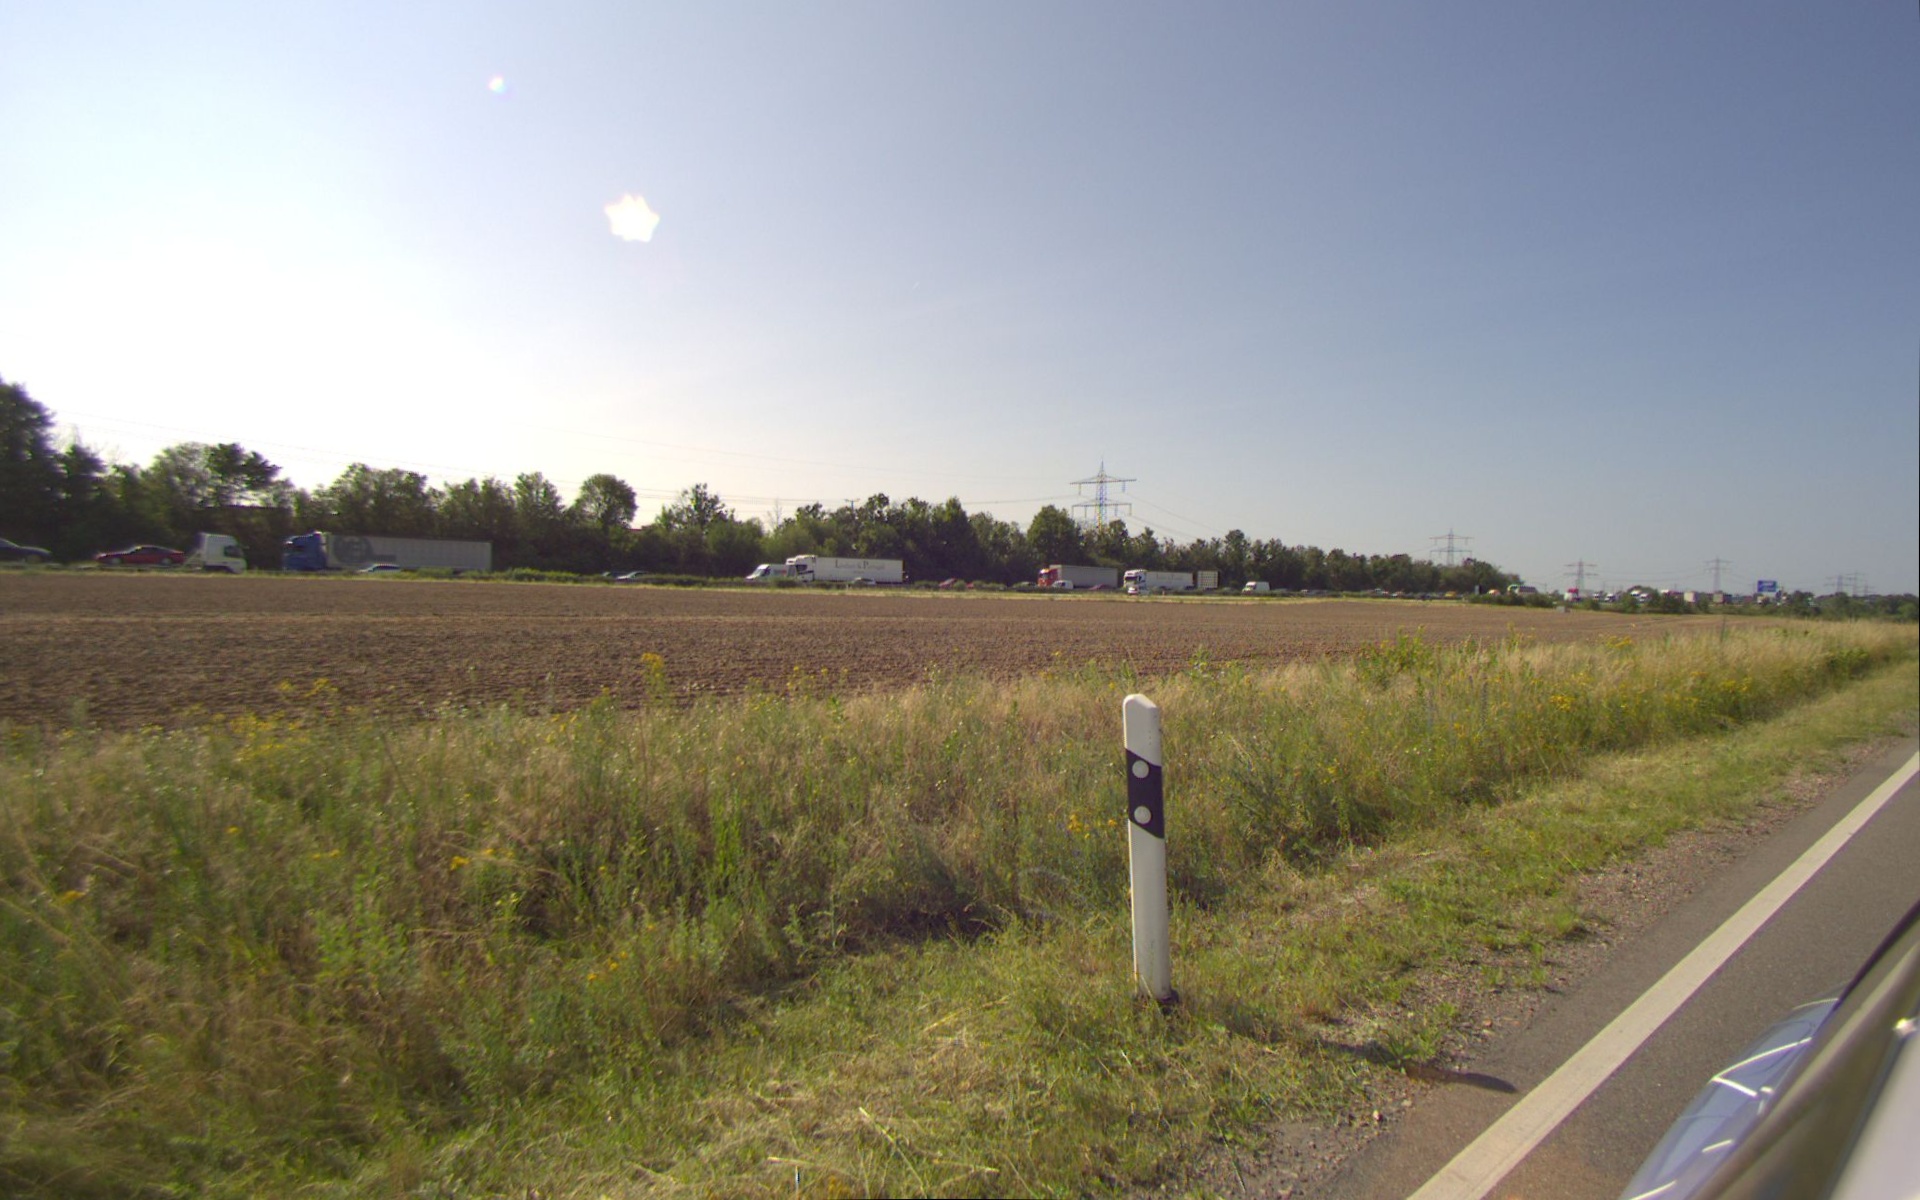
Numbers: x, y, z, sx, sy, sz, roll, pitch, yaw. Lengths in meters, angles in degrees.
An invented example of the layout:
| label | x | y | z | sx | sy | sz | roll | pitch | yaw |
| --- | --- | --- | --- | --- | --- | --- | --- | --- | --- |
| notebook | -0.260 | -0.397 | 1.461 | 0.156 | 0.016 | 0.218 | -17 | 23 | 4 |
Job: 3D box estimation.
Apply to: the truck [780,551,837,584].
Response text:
| label | x | y | z | sx | sy | sz | roll | pitch | yaw |
| --- | --- | --- | --- | --- | --- | --- | --- | --- | --- |
| truck | -18.021 | -3.843 | 120.829 | 6.012 | 3.780 | 3.077 | 1 | 1 | -42 |

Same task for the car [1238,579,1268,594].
| label | x | y | z | sx | sy | sz | roll | pitch | yaw |
| --- | --- | --- | --- | --- | --- | --- | --- | --- | --- |
| car | 51.956 | -2.430 | 179.374 | 6.303 | 2.478 | 2.040 | 0 | 1 | -42 |

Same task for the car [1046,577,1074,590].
| label | x | y | z | sx | sy | sz | roll | pitch | yaw |
| --- | --- | --- | --- | --- | --- | --- | --- | --- | --- |
| car | 14.069 | -2.314 | 142.467 | 4.025 | 1.659 | 1.704 | 0 | 0 | -44 |

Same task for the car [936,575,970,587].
| label | x | y | z | sx | sy | sz | roll | pitch | yaw |
| --- | --- | --- | --- | --- | --- | --- | --- | --- | --- |
| car | -0.865 | -2.411 | 129.287 | 4.176 | 1.403 | 1.852 | 1 | 0 | -43 |

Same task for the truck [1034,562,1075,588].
| label | x | y | z | sx | sy | sz | roll | pitch | yaw |
| --- | --- | --- | --- | --- | --- | --- | --- | --- | --- |
| truck | 14.130 | -3.707 | 151.094 | 5.770 | 3.780 | 2.949 | 1 | 1 | -43 |

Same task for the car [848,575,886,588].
| label | x | y | z | sx | sy | sz | roll | pitch | yaw |
| --- | --- | --- | --- | --- | --- | --- | --- | --- | --- |
| car | -10.981 | -2.216 | 119.731 | 4.176 | 1.403 | 1.852 | 1 | 0 | -43 |

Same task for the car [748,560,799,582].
| label | x | y | z | sx | sy | sz | roll | pitch | yaw |
| --- | --- | --- | --- | --- | --- | --- | --- | --- | --- |
| car | -20.222 | -3.087 | 109.830 | 5.149 | 2.228 | 1.907 | 1 | 0 | -43 |

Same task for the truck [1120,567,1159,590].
| label | x | y | z | sx | sy | sz | roll | pitch | yaw |
| --- | --- | --- | --- | --- | --- | --- | --- | --- | --- |
| truck | 29.253 | -3.532 | 164.762 | 6.006 | 3.575 | 3.207 | 1 | 2 | -43 |

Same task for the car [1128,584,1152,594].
| label | x | y | z | sx | sy | sz | roll | pitch | yaw |
| --- | --- | --- | --- | --- | --- | --- | --- | --- | --- |
| car | 25.136 | -1.548 | 141.425 | 3.558 | 1.250 | 1.547 | 1 | -2 | -43 |

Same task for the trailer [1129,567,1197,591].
| label | x | y | z | sx | sy | sz | roll | pitch | yaw |
| --- | --- | --- | --- | --- | --- | --- | --- | --- | --- |
| trailer | 34.170 | -3.492 | 169.471 | 14.830 | 3.574 | 3.206 | 1 | 2 | -44 |

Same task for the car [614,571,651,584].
| label | x | y | z | sx | sy | sz | roll | pitch | yaw |
| --- | --- | --- | --- | --- | --- | --- | --- | --- | --- |
| car | -31.823 | -2.217 | 98.286 | 3.128 | 1.166 | 1.396 | 1 | 0 | -43 |

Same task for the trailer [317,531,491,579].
| label | x | y | z | sx | sy | sz | roll | pitch | yaw |
| --- | --- | --- | --- | --- | --- | --- | --- | --- | --- |
| trailer | -49.815 | -3.960 | 91.190 | 13.393 | 3.780 | 3.077 | 1 | 1 | -42 |

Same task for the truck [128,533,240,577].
| label | x | y | z | sx | sy | sz | roll | pitch | yaw |
| --- | --- | --- | --- | --- | --- | --- | --- | --- | --- |
| truck | -49.727 | -2.836 | 64.889 | 5.444 | 2.562 | 2.515 | 1 | 2 | -44 |

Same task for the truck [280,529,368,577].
| label | x | y | z | sx | sy | sz | roll | pitch | yaw |
| --- | --- | --- | --- | --- | --- | --- | --- | --- | --- |
| truck | -54.615 | -3.987 | 86.933 | 5.981 | 3.780 | 3.077 | 1 | 1 | -42 |

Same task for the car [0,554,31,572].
| label | x | y | z | sx | sy | sz | roll | pitch | yaw |
| --- | --- | --- | --- | --- | --- | --- | --- | --- | --- |
| car | -64.531 | -2.517 | 67.641 | 3.520 | 1.166 | 1.396 | 1 | 0 | -42 |

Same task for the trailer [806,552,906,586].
| label | x | y | z | sx | sy | sz | roll | pitch | yaw |
| --- | --- | --- | --- | --- | --- | --- | --- | --- | --- |
| trailer | -12.741 | -3.809 | 125.667 | 13.136 | 3.780 | 3.076 | 1 | 1 | -42 |

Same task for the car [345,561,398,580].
| label | x | y | z | sx | sy | sz | roll | pitch | yaw |
| --- | --- | --- | --- | --- | --- | --- | --- | --- | --- |
| car | -48.265 | -2.418 | 83.001 | 3.542 | 1.403 | 1.493 | 1 | 0 | -43 |

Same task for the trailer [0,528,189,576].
| label | x | y | z | sx | sy | sz | roll | pitch | yaw |
| --- | --- | --- | --- | --- | --- | --- | --- | --- | --- |
| trailer | -55.669 | -2.905 | 59.053 | 16.802 | 2.562 | 2.515 | 1 | 2 | -44 |

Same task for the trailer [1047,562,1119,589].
| label | x | y | z | sx | sy | sz | roll | pitch | yaw |
| --- | --- | --- | --- | --- | --- | --- | --- | --- | --- |
| trailer | 18.988 | -3.669 | 155.587 | 13.549 | 3.780 | 2.949 | 1 | 1 | -43 |
